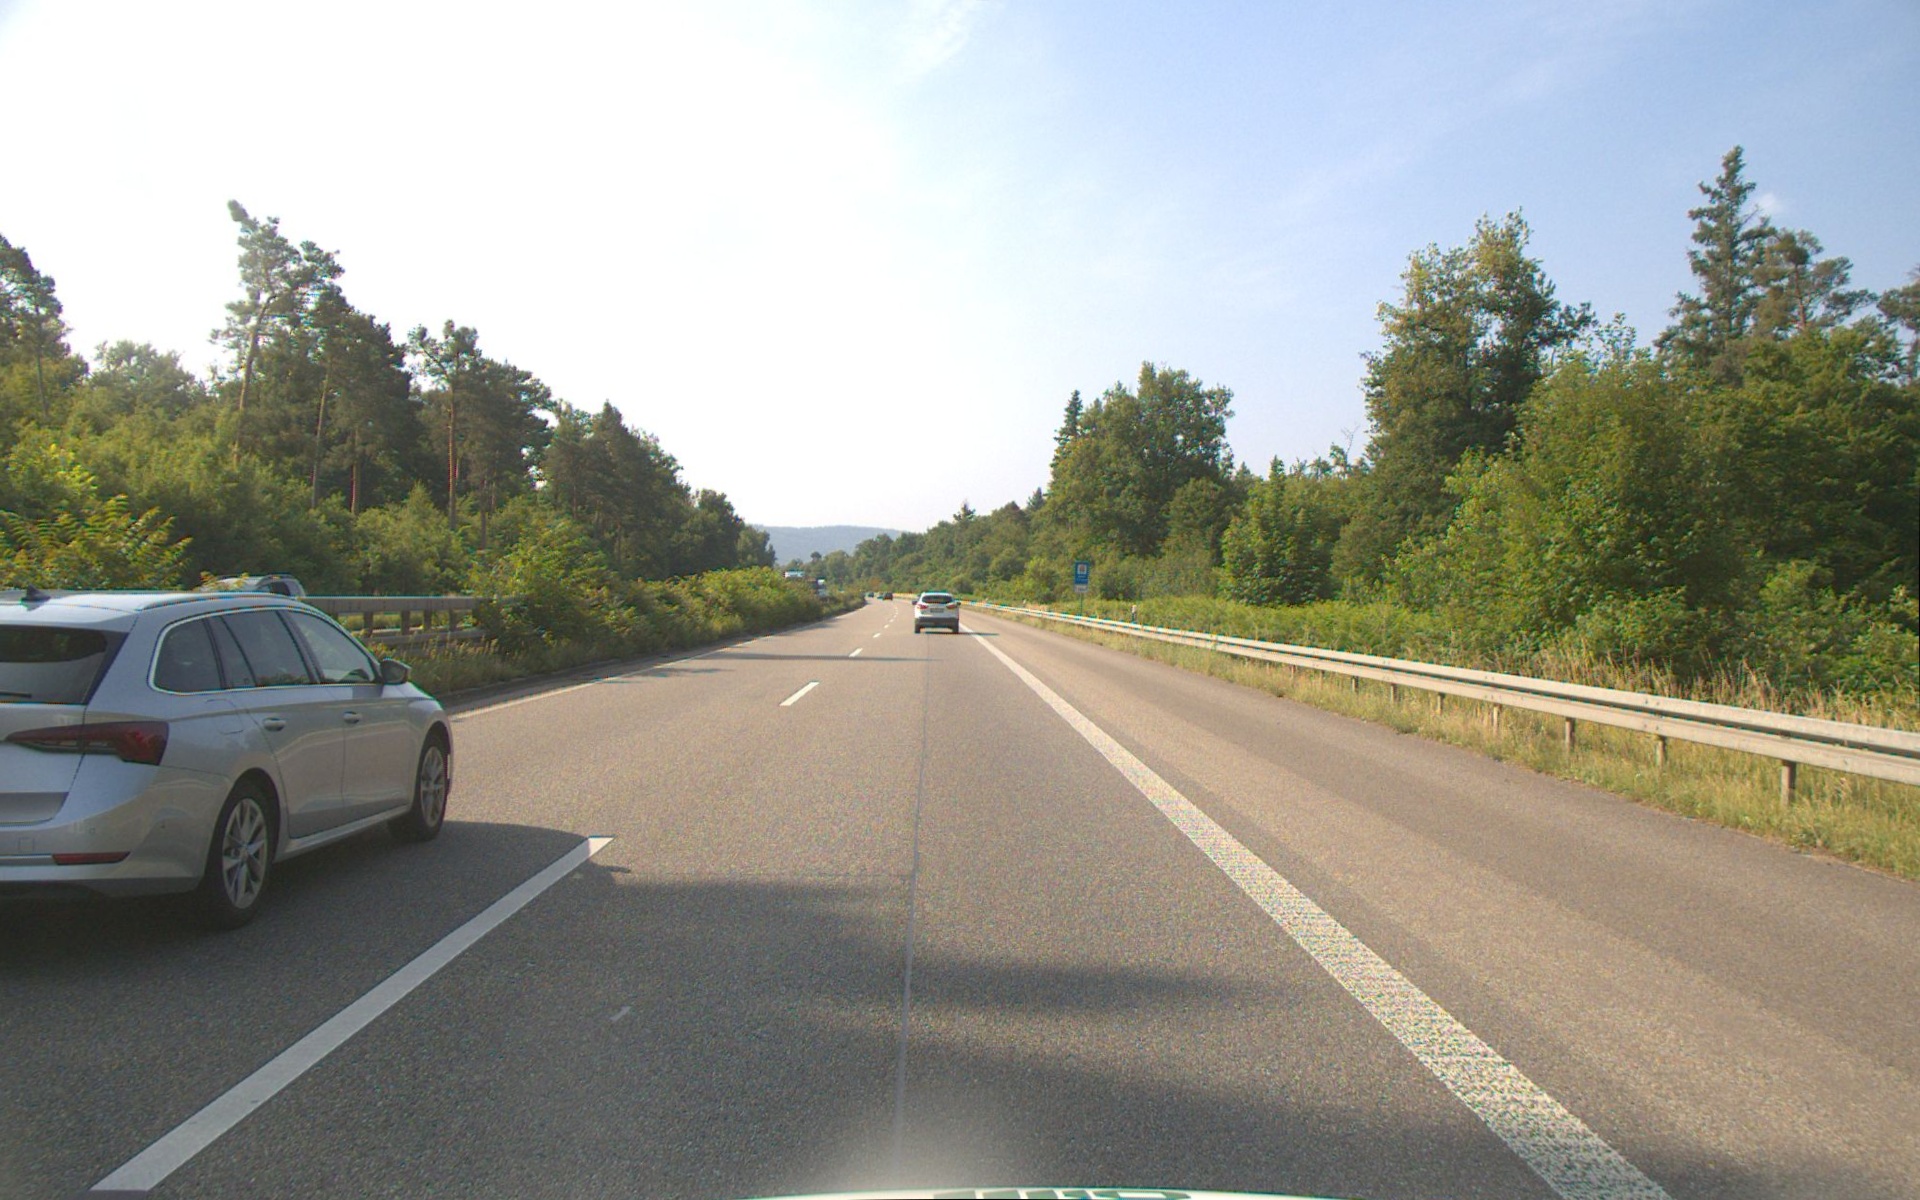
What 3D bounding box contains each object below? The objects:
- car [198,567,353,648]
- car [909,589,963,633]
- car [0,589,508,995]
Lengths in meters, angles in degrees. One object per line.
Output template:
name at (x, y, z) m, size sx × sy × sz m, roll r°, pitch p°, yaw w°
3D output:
car at (-15.671, 0.173, 38.095) m, size 1.778 × 1.712 × 4.299 m, roll 1°, pitch 0°, yaw -1°
car at (-0.994, 0.419, 66.302) m, size 1.837 × 1.614 × 3.996 m, roll 3°, pitch 0°, yaw -5°
car at (-3.932, 0.680, 8.618) m, size 1.756 × 1.463 × 5.278 m, roll 0°, pitch 0°, yaw -1°
